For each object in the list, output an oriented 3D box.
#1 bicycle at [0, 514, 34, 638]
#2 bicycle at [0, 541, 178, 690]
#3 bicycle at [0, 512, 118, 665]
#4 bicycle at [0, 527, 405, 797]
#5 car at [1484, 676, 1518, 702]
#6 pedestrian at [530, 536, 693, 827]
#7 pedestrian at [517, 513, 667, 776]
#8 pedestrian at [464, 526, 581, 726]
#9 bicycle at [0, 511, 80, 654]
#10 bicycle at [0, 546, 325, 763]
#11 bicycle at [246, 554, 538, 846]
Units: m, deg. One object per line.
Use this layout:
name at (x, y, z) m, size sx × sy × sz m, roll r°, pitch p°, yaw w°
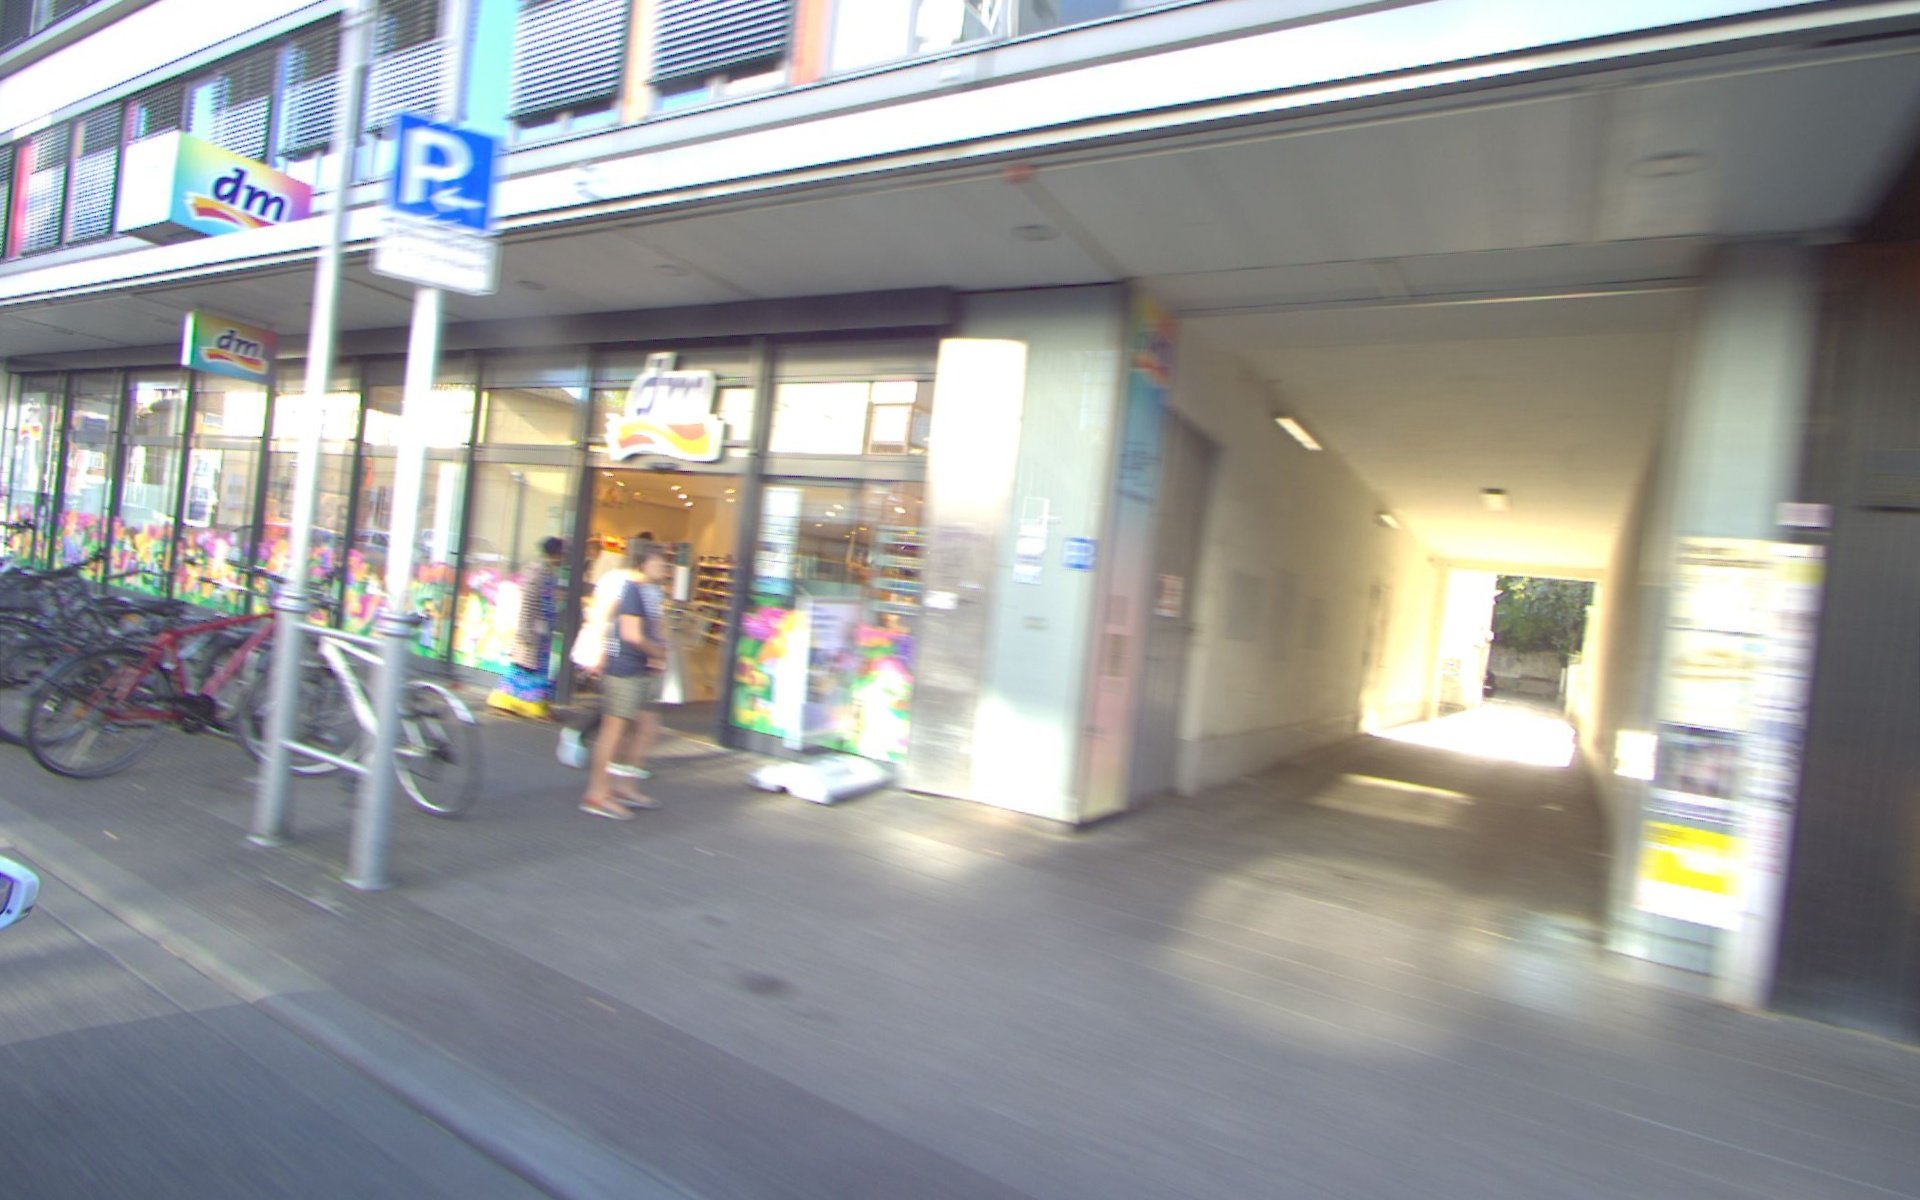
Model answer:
bicycle at (-9.906, -0.289, 9.321) m, size 0.658 × 1.174 × 1.789 m, roll 7°, pitch 1°, yaw 30°
bicycle at (-7.038, 0.104, 7.489) m, size 0.587 × 1.045 × 1.775 m, roll 7°, pitch 1°, yaw 30°
bicycle at (-8.145, -0.118, 8.222) m, size 0.577 × 1.232 × 1.789 m, roll 7°, pitch 1°, yaw 30°
bicycle at (-4.396, 0.295, 5.938) m, size 0.515 × 1.292 × 2.039 m, roll 7°, pitch 3°, yaw 22°
car at (25.789, 4.227, 47.946) m, size 1.266 × 0.976 × 2.562 m, roll 7°, pitch 0°, yaw 29°
pedestrian at (-1.967, 0.435, 5.686) m, size 0.573 × 1.513 × 0.523 m, roll 7°, pitch 3°, yaw 30°
pedestrian at (-2.419, 0.276, 6.627) m, size 0.587 × 1.607 × 0.581 m, roll 7°, pitch 3°, yaw 29°
pedestrian at (-3.512, 0.201, 8.111) m, size 0.586 × 1.506 × 0.582 m, roll 5°, pitch 3°, yaw 0°
bicycle at (-8.864, -0.196, 8.644) m, size 0.658 × 1.232 × 1.789 m, roll 7°, pitch 1°, yaw 30°
bicycle at (-4.986, 0.317, 6.186) m, size 0.470 × 1.145 × 1.776 m, roll 7°, pitch 1°, yaw 26°
bicycle at (-3.070, 0.466, 5.395) m, size 1.574 × 1.274 × 0.581 m, roll 7°, pitch 3°, yaw 30°
